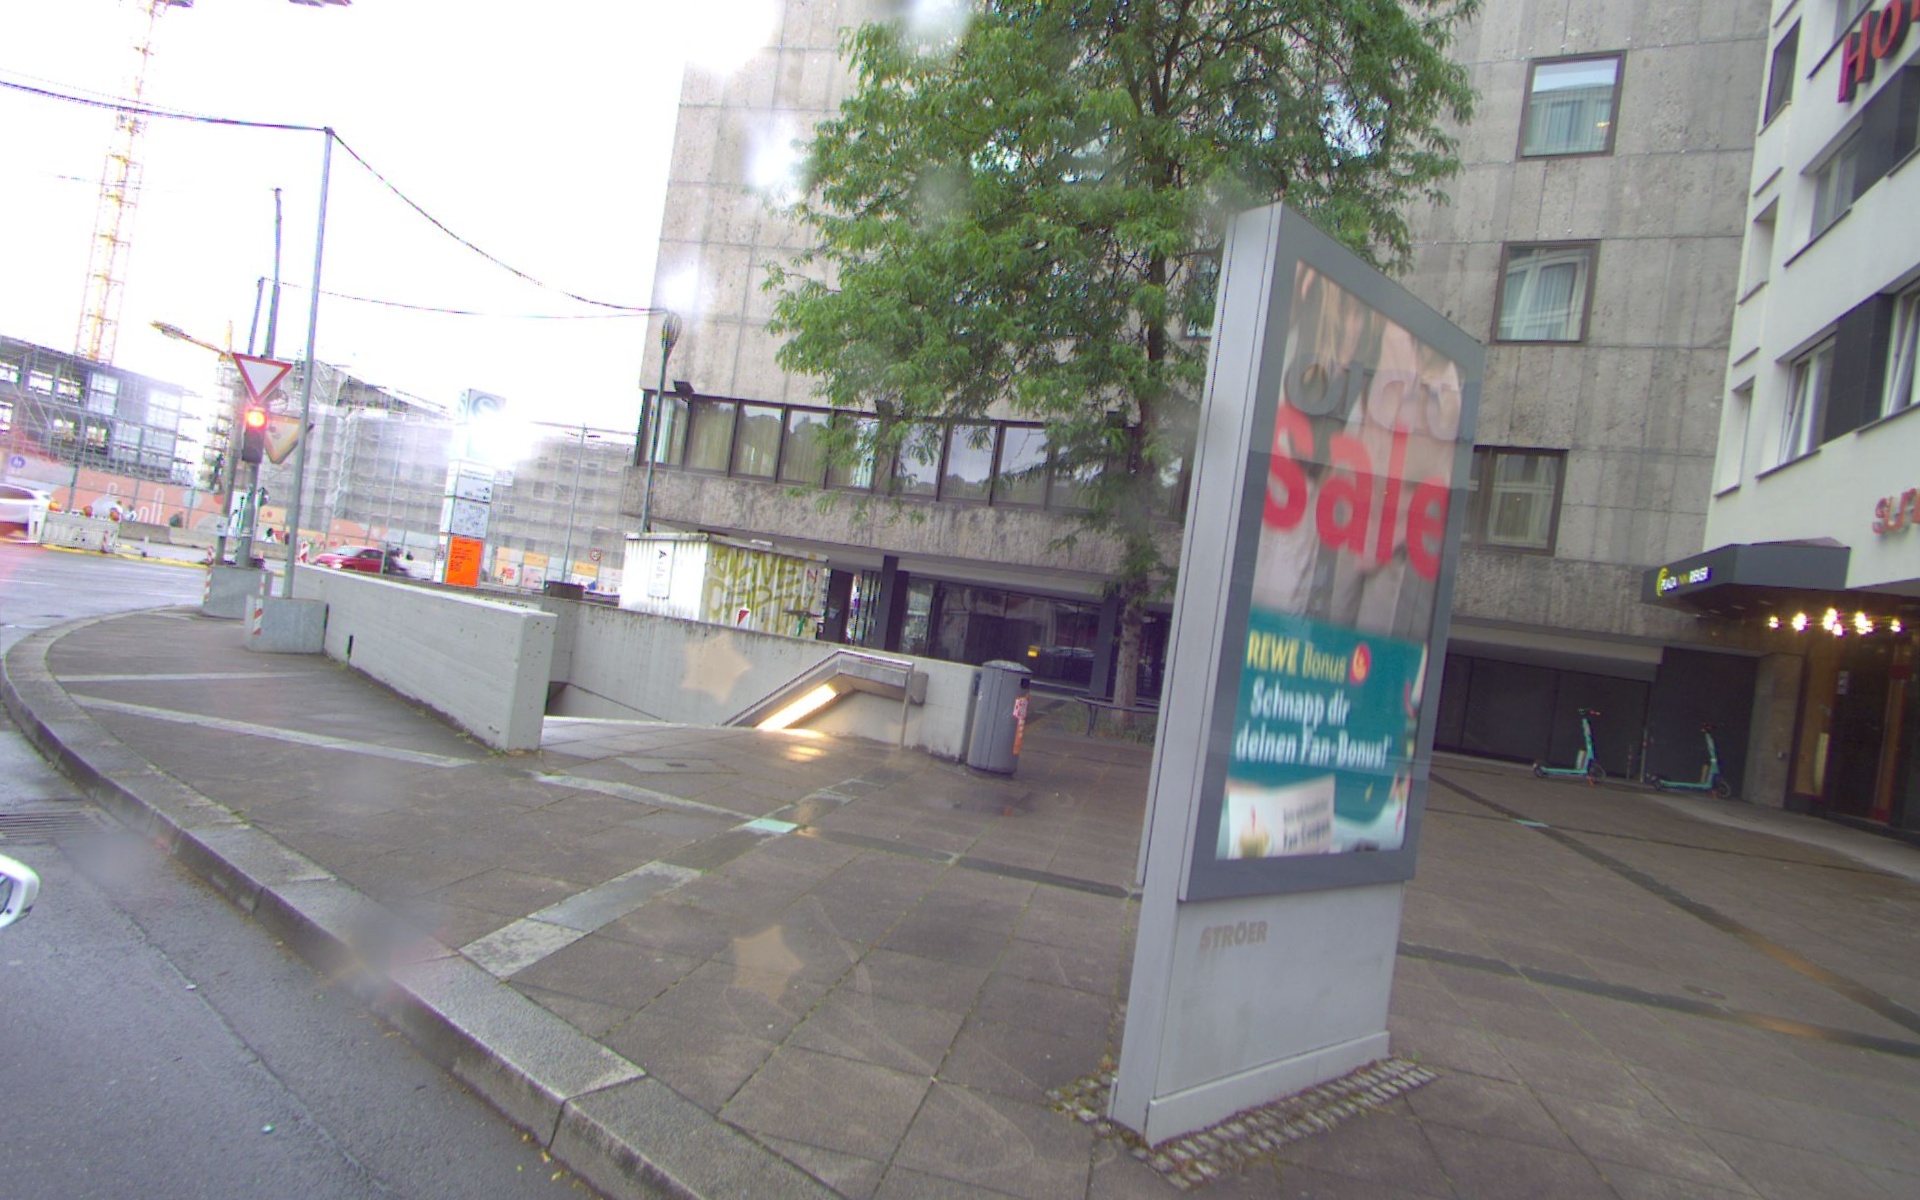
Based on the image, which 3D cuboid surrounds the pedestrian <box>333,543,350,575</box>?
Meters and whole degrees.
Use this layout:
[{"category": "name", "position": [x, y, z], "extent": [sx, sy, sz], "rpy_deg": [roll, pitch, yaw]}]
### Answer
[{"category": "pedestrian", "position": [-38.844, -2.570, 63.191], "extent": [0.355, 1.919, 0.577], "rpy_deg": [7, -2, 21]}]

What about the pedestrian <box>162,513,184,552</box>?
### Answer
[{"category": "pedestrian", "position": [-40.734, -3.498, 52.051], "extent": [0.355, 1.919, 0.577], "rpy_deg": [7, -2, 21]}]

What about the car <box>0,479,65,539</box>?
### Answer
[{"category": "car", "position": [-30.256, -3.023, 30.560], "extent": [1.962, 1.569, 4.061], "rpy_deg": [7, -3, 13]}]

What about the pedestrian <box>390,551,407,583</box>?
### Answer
[{"category": "pedestrian", "position": [-35.235, -2.079, 63.136], "extent": [0.355, 1.919, 0.577], "rpy_deg": [7, -2, 21]}]

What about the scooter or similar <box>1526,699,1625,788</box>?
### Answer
[{"category": "scooter or similar", "position": [10.327, 2.390, 16.918], "extent": [1.208, 1.269, 0.565], "rpy_deg": [7, 0, 19]}]

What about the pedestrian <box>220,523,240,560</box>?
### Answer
[{"category": "pedestrian", "position": [-40.393, -3.234, 55.640], "extent": [0.355, 1.919, 0.577], "rpy_deg": [7, -2, 19]}]

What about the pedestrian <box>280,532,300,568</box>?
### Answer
[{"category": "pedestrian", "position": [-37.301, -2.796, 55.990], "extent": [0.355, 1.919, 0.577], "rpy_deg": [7, -2, 21]}]

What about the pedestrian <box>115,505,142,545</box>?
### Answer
[{"category": "pedestrian", "position": [-43.162, -3.899, 52.233], "extent": [0.620, 1.922, 0.659], "rpy_deg": [7, -2, 18]}]

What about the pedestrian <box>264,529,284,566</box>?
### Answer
[{"category": "pedestrian", "position": [-37.897, -2.905, 55.552], "extent": [0.355, 1.919, 0.577], "rpy_deg": [7, -2, 21]}]

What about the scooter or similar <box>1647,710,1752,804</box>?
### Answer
[{"category": "scooter or similar", "position": [12.362, 2.606, 16.841], "extent": [1.208, 1.352, 0.520], "rpy_deg": [7, -2, 19]}]

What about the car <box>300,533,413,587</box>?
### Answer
[{"category": "car", "position": [-27.147, -1.762, 45.426], "extent": [1.962, 1.727, 4.008], "rpy_deg": [7, -3, 14]}]

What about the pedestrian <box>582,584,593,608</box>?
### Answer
[{"category": "pedestrian", "position": [-31.114, -0.340, 83.996], "extent": [0.355, 1.919, 0.577], "rpy_deg": [7, -2, 21]}]

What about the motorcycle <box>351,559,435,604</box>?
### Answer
[{"category": "motorcycle", "position": [-18.457, -0.590, 32.792], "extent": [0.837, 1.120, 2.142], "rpy_deg": [6, -4, 30]}]

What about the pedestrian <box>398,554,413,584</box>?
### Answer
[{"category": "pedestrian", "position": [-37.554, -2.082, 68.163], "extent": [0.355, 1.919, 0.577], "rpy_deg": [7, -2, 16]}]

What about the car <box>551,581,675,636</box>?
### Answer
[{"category": "car", "position": [-13.571, 0.359, 39.534], "extent": [1.969, 1.523, 4.106], "rpy_deg": [6, -4, 35]}]

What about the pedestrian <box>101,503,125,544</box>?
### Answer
[{"category": "pedestrian", "position": [-41.766, -3.788, 49.620], "extent": [0.355, 1.919, 0.577], "rpy_deg": [7, -2, 21]}]

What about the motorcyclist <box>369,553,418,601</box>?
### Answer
[{"category": "motorcyclist", "position": [-18.454, -0.740, 32.799], "extent": [0.835, 1.373, 0.947], "rpy_deg": [6, -3, 30]}]

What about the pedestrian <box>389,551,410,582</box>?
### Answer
[{"category": "pedestrian", "position": [-36.485, -2.182, 65.496], "extent": [0.555, 1.919, 0.801], "rpy_deg": [7, -2, 17]}]

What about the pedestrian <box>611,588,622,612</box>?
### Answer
[{"category": "pedestrian", "position": [-29.345, 0.011, 85.882], "extent": [0.355, 1.919, 0.577], "rpy_deg": [7, -2, 21]}]
